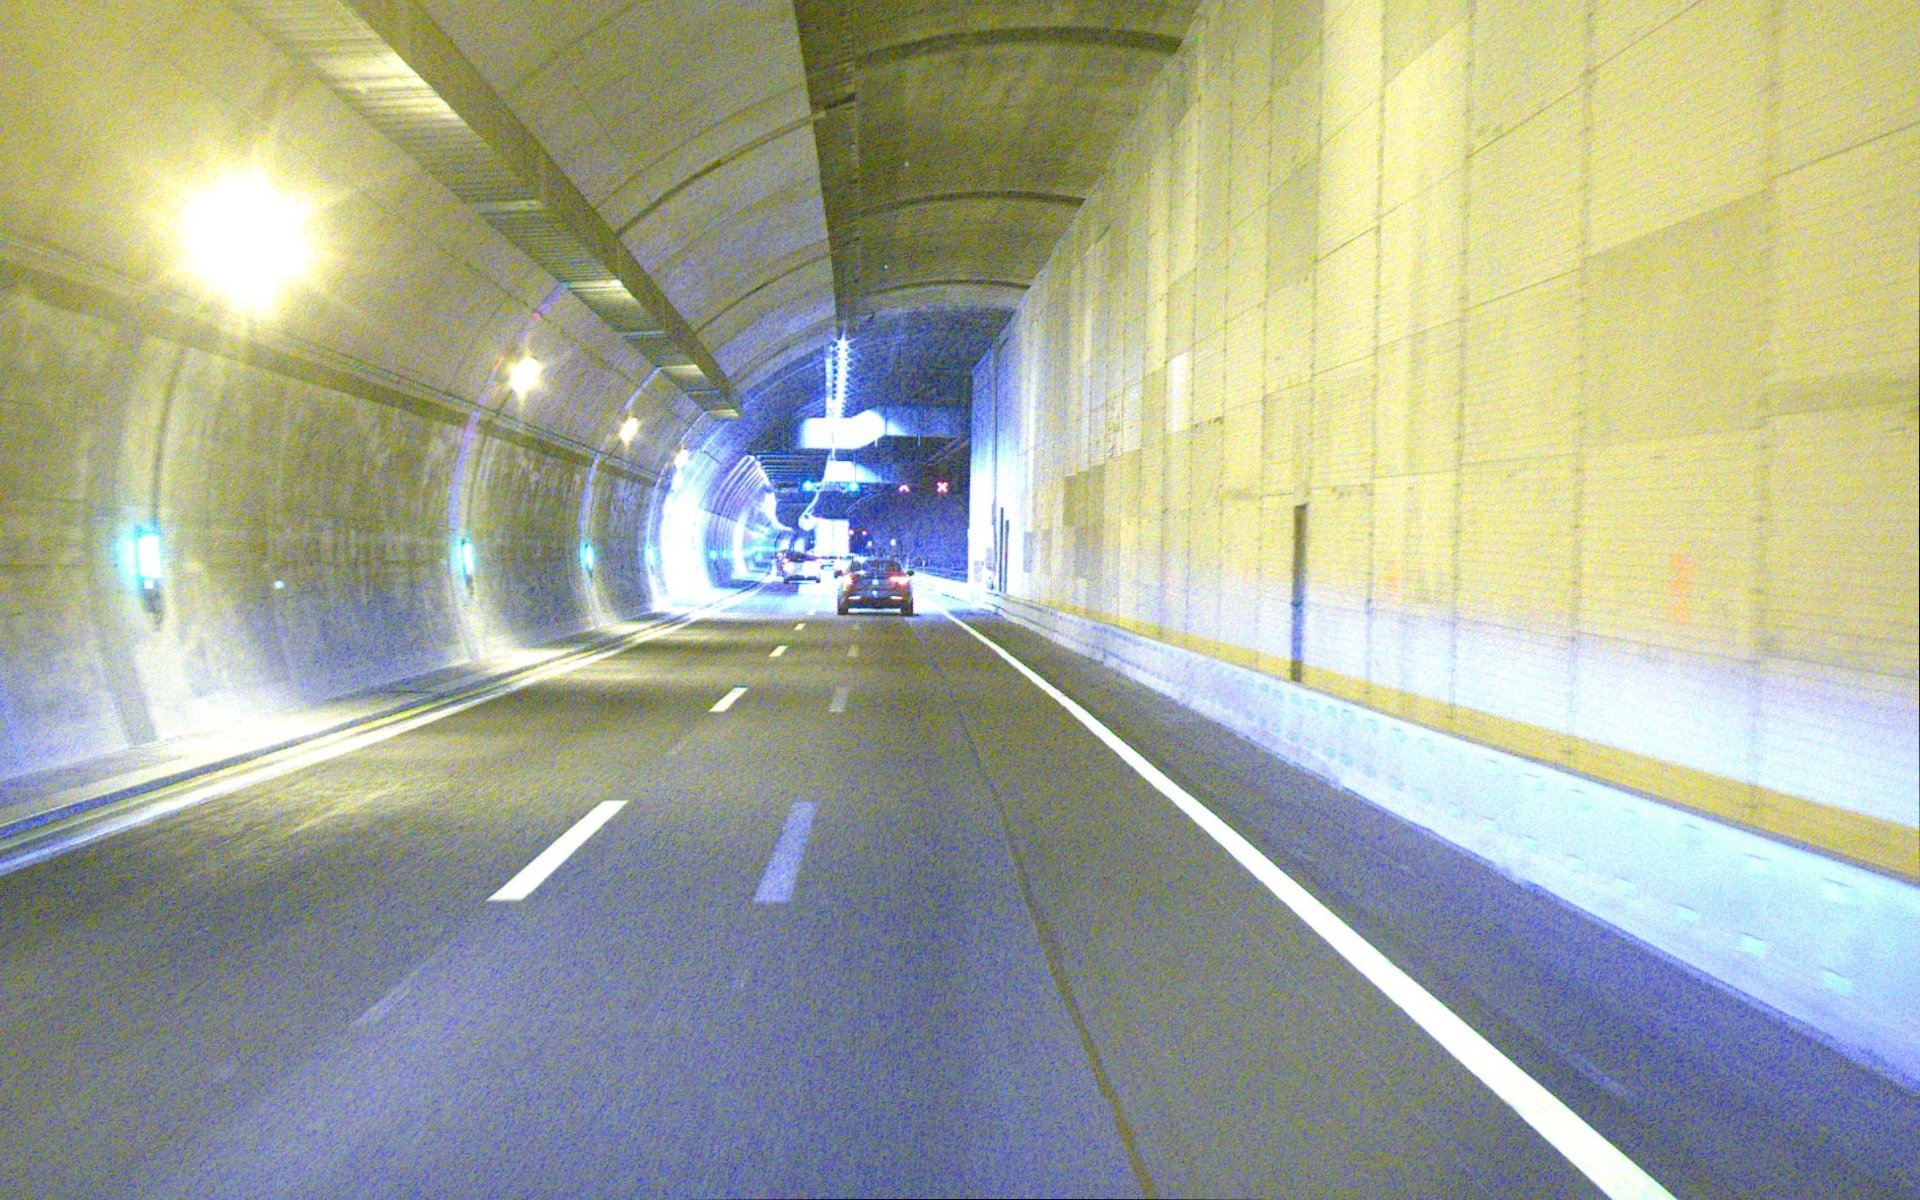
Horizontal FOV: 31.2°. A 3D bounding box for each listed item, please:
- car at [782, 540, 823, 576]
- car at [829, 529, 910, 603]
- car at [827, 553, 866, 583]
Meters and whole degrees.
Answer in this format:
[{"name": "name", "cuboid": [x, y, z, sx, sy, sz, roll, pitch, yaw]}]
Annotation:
[{"name": "car", "cuboid": [-7.605, -2.049, 166.421, 1.930, 1.681, 4.000, 0, 1, -2]}, {"name": "car", "cuboid": [-2.230, -0.852, 85.490, 1.947, 1.788, 4.000, 0, 1, -1]}, {"name": "car", "cuboid": [-6.448, -1.850, 195.567, 1.930, 1.681, 4.000, 0, 1, 2]}]
